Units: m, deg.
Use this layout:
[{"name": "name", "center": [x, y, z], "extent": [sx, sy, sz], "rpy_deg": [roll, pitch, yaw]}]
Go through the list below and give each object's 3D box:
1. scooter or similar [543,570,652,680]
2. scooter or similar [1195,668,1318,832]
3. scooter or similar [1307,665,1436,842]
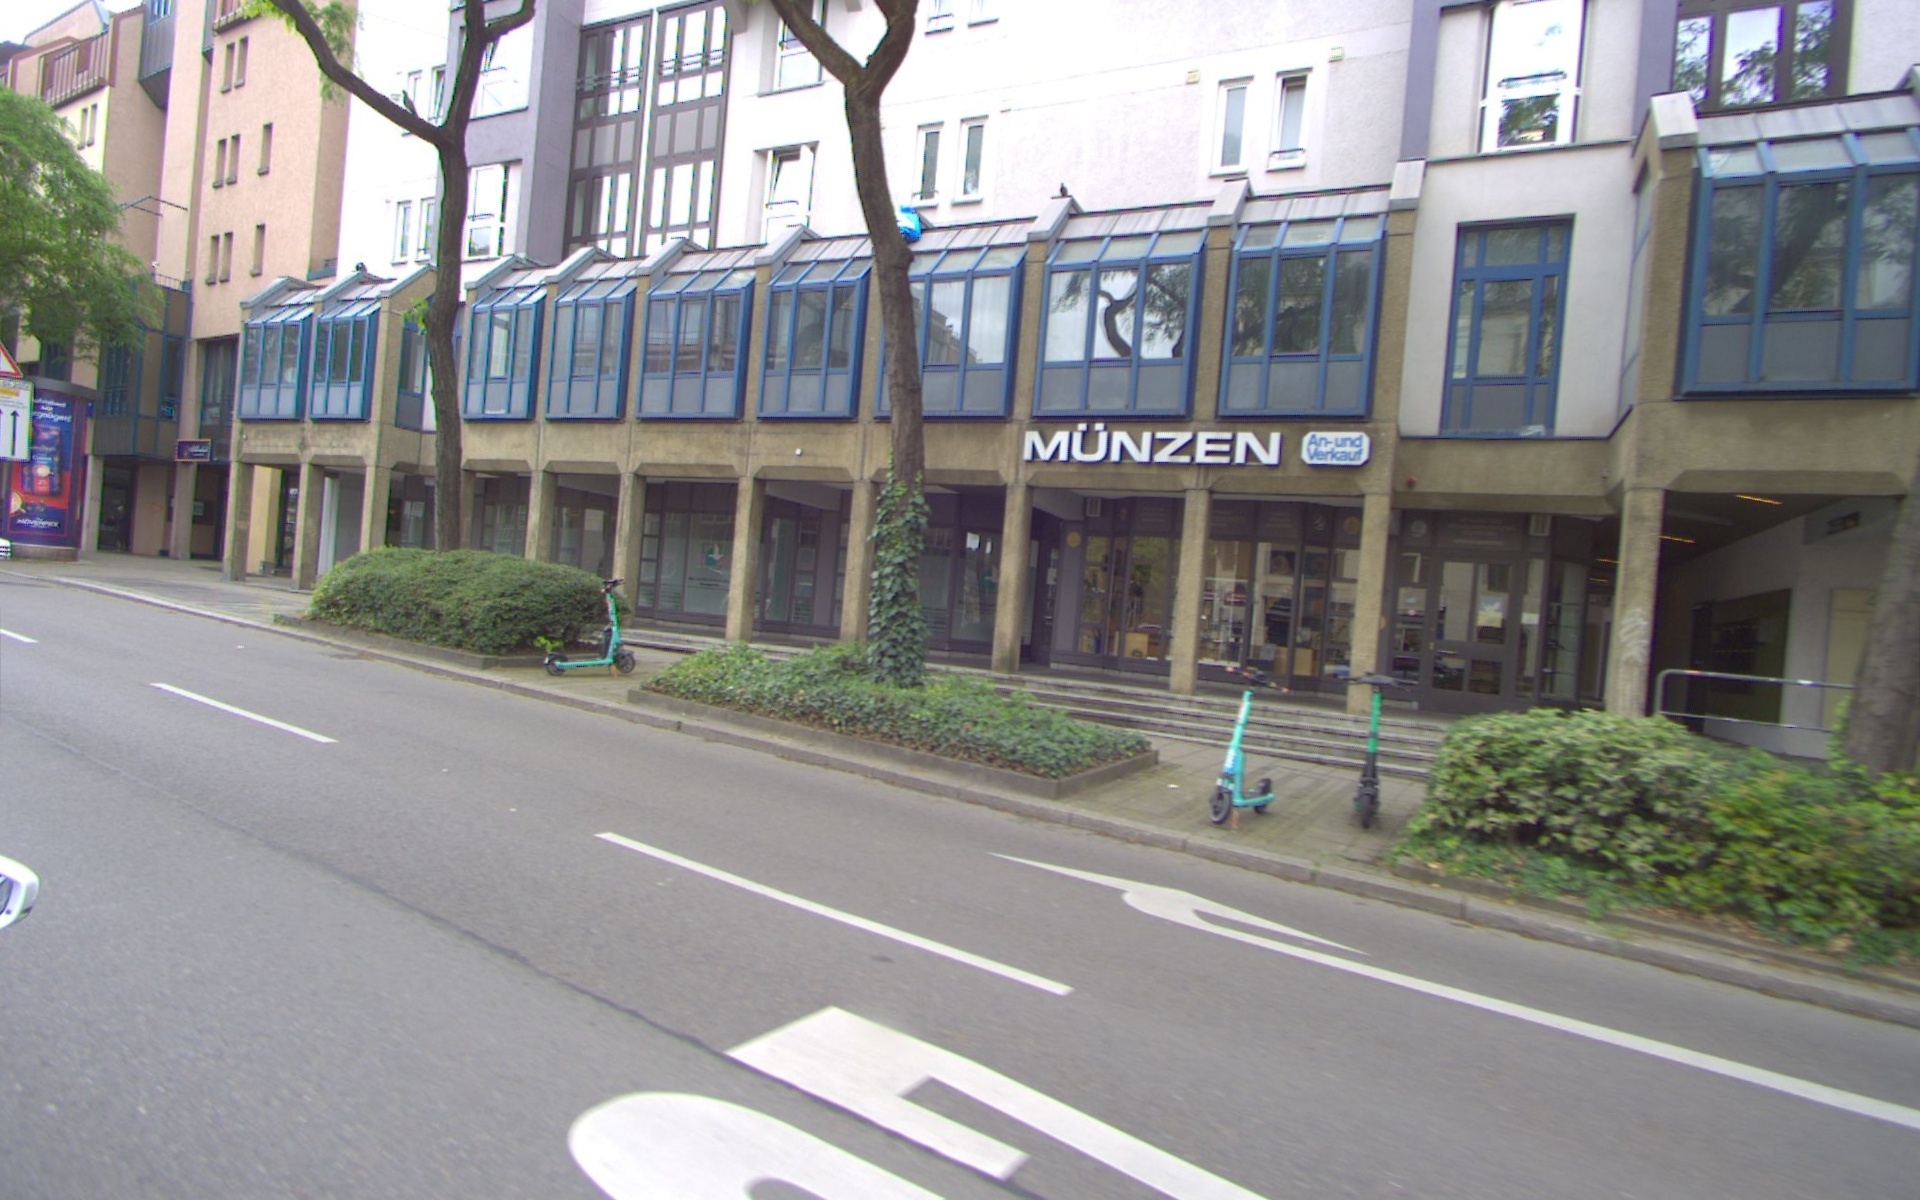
[{"name": "scooter or similar", "center": [-4.561, 0.324, 12.698], "extent": [0.419, 1.302, 1.159], "rpy_deg": [7, 3, 40]}, {"name": "scooter or similar", "center": [2.425, 1.179, 8.187], "extent": [0.421, 1.197, 1.105], "rpy_deg": [8, 3, 41]}, {"name": "scooter or similar", "center": [3.535, 1.256, 8.596], "extent": [0.712, 1.285, 1.196], "rpy_deg": [7, 2, 31]}]
